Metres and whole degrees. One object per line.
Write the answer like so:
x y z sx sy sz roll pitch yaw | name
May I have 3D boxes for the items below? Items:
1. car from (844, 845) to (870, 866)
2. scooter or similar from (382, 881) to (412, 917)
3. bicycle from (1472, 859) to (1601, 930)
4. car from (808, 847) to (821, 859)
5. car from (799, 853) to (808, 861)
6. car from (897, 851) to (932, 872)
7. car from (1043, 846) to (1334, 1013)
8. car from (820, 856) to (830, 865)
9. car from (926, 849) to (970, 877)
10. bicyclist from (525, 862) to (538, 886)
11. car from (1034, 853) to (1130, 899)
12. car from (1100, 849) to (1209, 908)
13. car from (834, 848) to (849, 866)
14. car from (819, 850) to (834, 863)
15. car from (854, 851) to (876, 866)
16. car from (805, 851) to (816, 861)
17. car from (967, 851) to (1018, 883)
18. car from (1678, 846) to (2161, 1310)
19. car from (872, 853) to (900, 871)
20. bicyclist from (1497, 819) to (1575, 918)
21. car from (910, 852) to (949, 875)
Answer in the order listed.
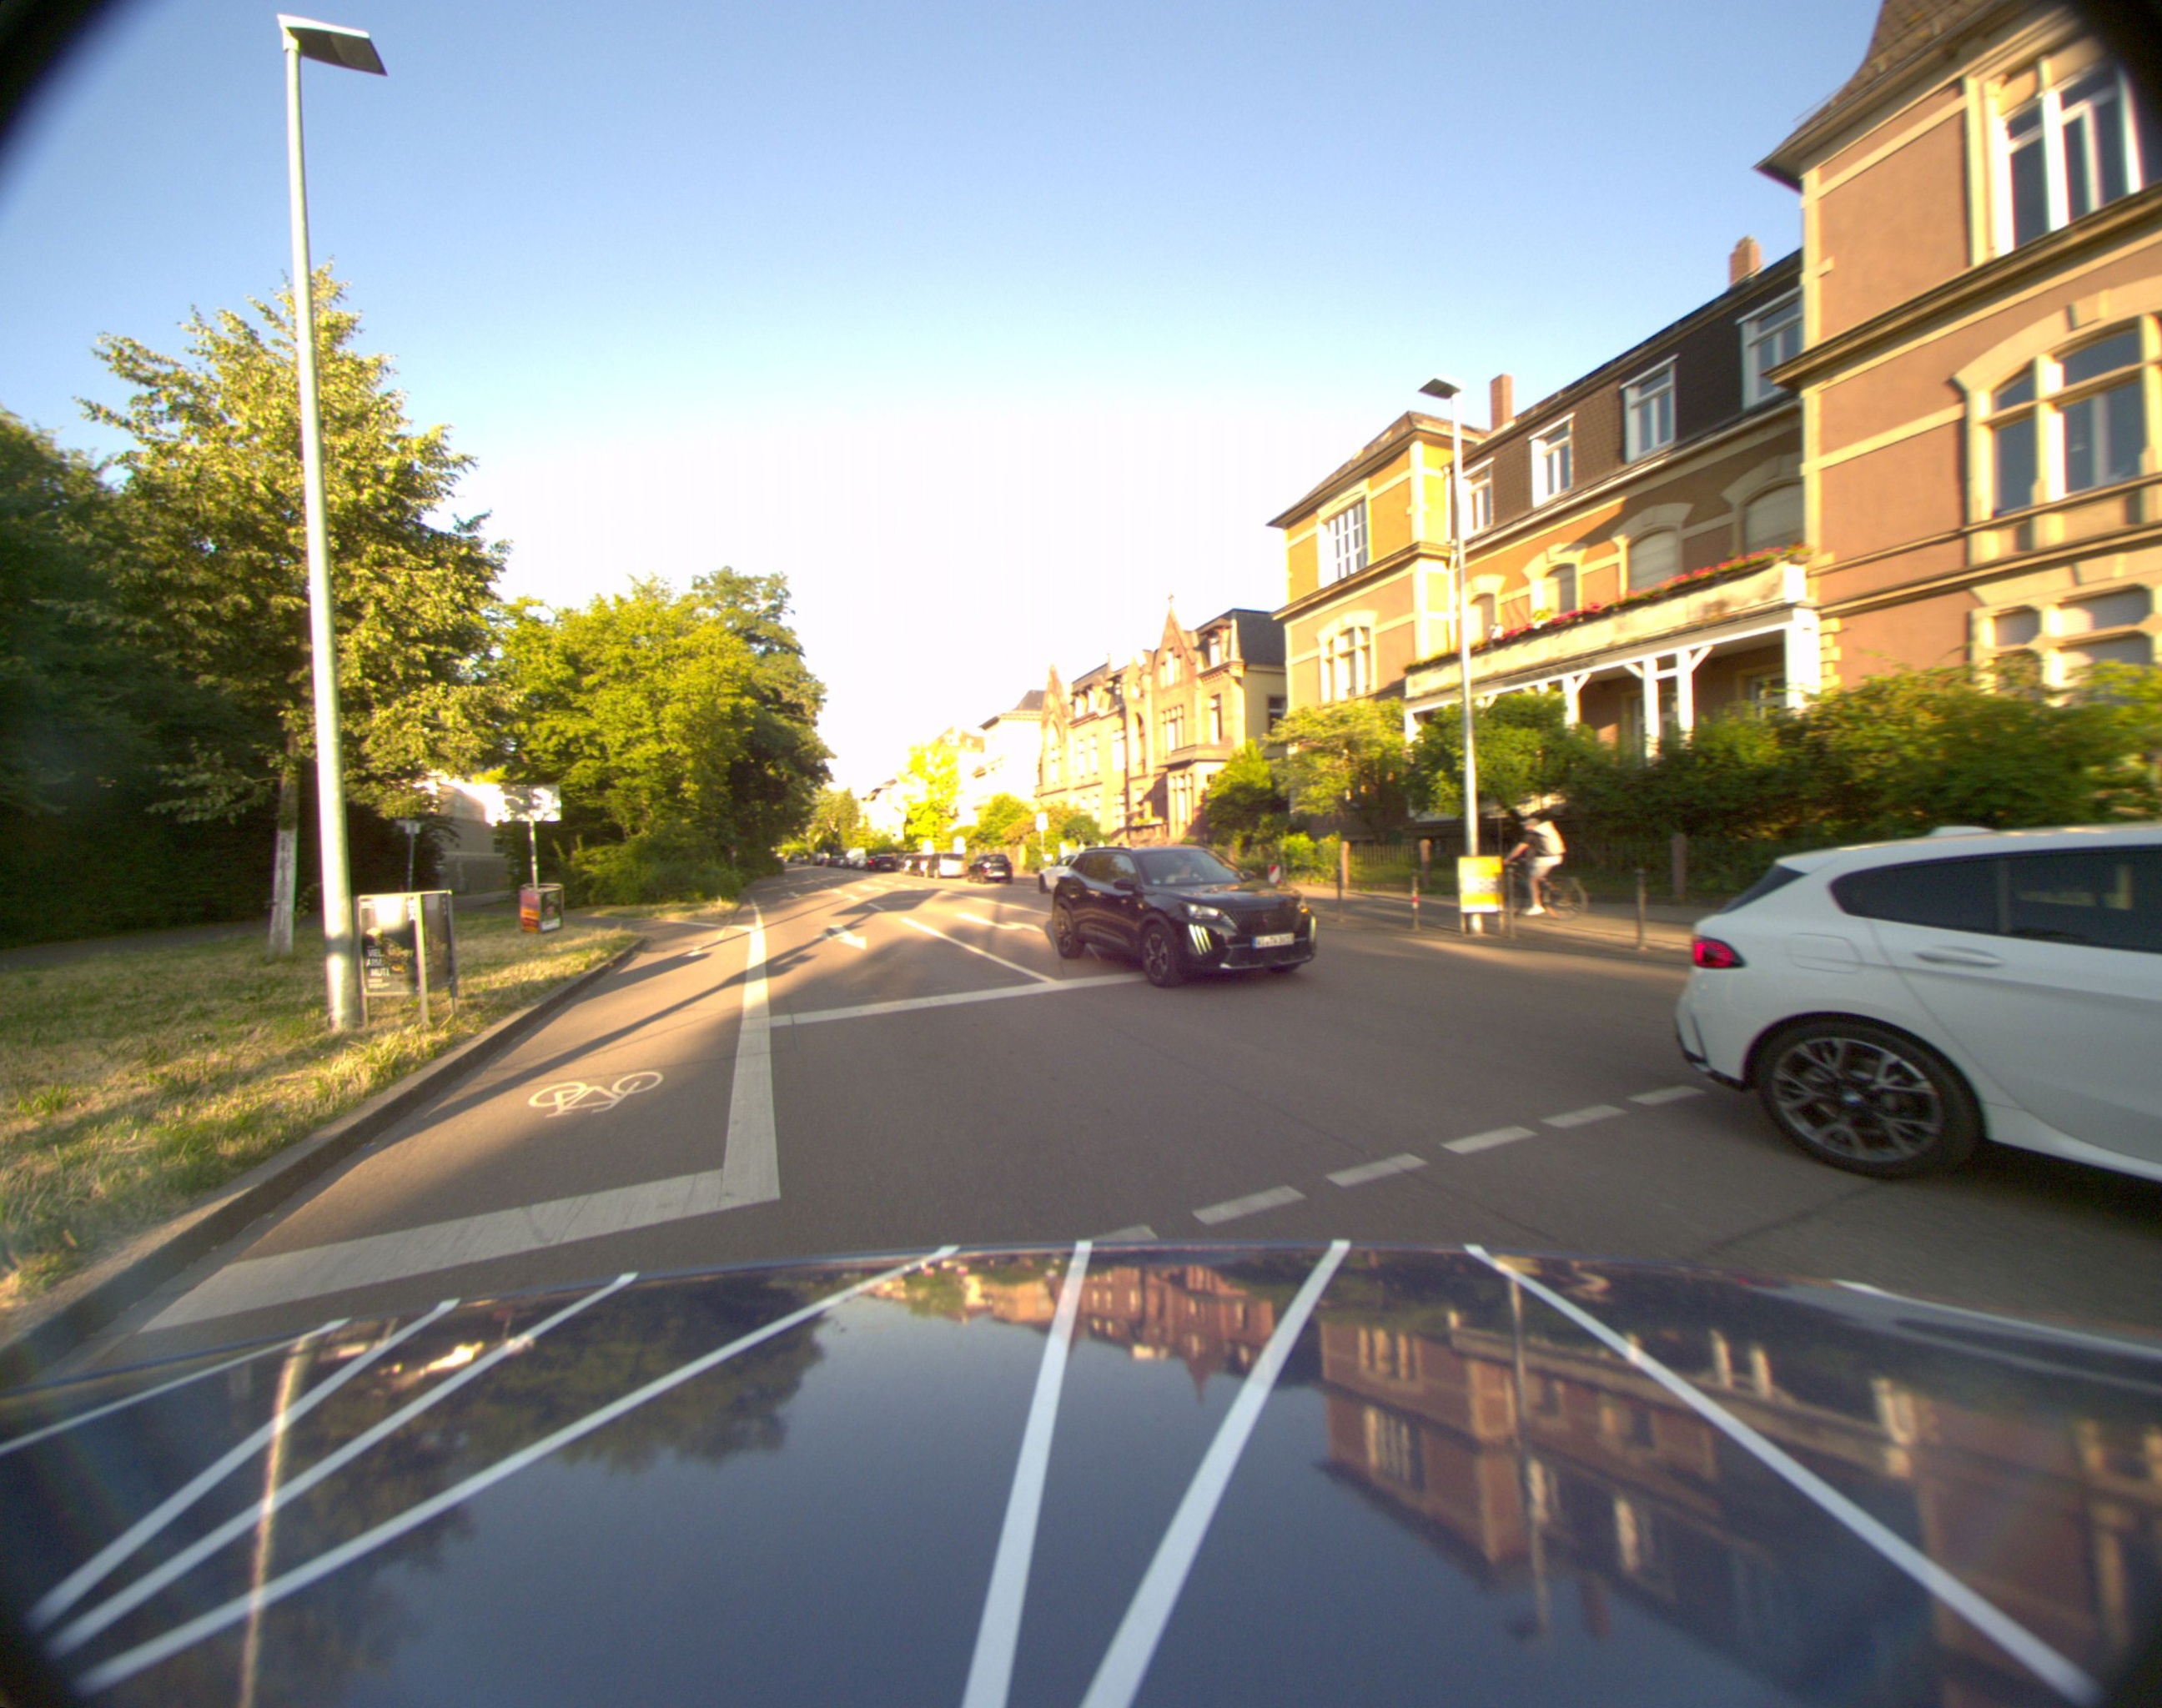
-26.680 0.161 90.268 2.235 2.355 5.867 -2 1 -24 | car
-21.718 1.426 24.130 0.194 1.079 0.836 -4 1 -8 | scooter or similar
7.944 0.667 13.352 0.661 1.083 1.899 -5 2 -22 | bicycle
-56.039 -0.232 159.664 2.002 2.443 5.568 -3 1 -23 | car
-74.358 0.749 203.761 2.002 2.002 3.992 -2 1 -22 | car
-12.081 0.532 54.869 1.719 1.442 3.715 -2 1 -24 | car
1.035 0.718 9.351 1.685 1.527 3.992 -2 1 -23 | car
-41.073 1.004 121.932 1.223 1.430 2.510 -2 1 -22 | car
-8.047 0.546 45.850 1.719 1.579 3.745 -2 1 -24 | car
-33.480 1.223 46.306 0.496 1.409 0.567 -3 1 -27 | bicyclist
-0.068 0.696 26.065 1.612 1.434 4.423 0 0 -25 | car
2.020 0.652 21.910 1.634 1.525 3.716 0 0 -21 | car
-32.006 0.386 101.349 1.574 2.253 3.793 -2 1 -22 | car
-45.877 0.467 136.946 2.207 2.201 4.519 -2 1 -22 | car
-23.927 0.474 84.080 1.719 1.596 3.845 -2 1 -25 | car
-62.405 0.465 175.289 2.002 2.002 3.992 -4 2 -21 | car
-4.397 0.617 37.358 1.634 1.437 3.560 -2 1 -21 | car
4.591 0.719 2.168 1.760 1.457 4.180 -2 1 -25 | car
-17.444 0.696 67.829 1.884 1.596 3.716 -2 1 -22 | car
7.939 0.242 13.275 0.653 1.623 0.913 -4 2 -22 | bicyclist
-10.128 0.603 50.533 1.719 1.442 3.715 -2 1 -24 | car
